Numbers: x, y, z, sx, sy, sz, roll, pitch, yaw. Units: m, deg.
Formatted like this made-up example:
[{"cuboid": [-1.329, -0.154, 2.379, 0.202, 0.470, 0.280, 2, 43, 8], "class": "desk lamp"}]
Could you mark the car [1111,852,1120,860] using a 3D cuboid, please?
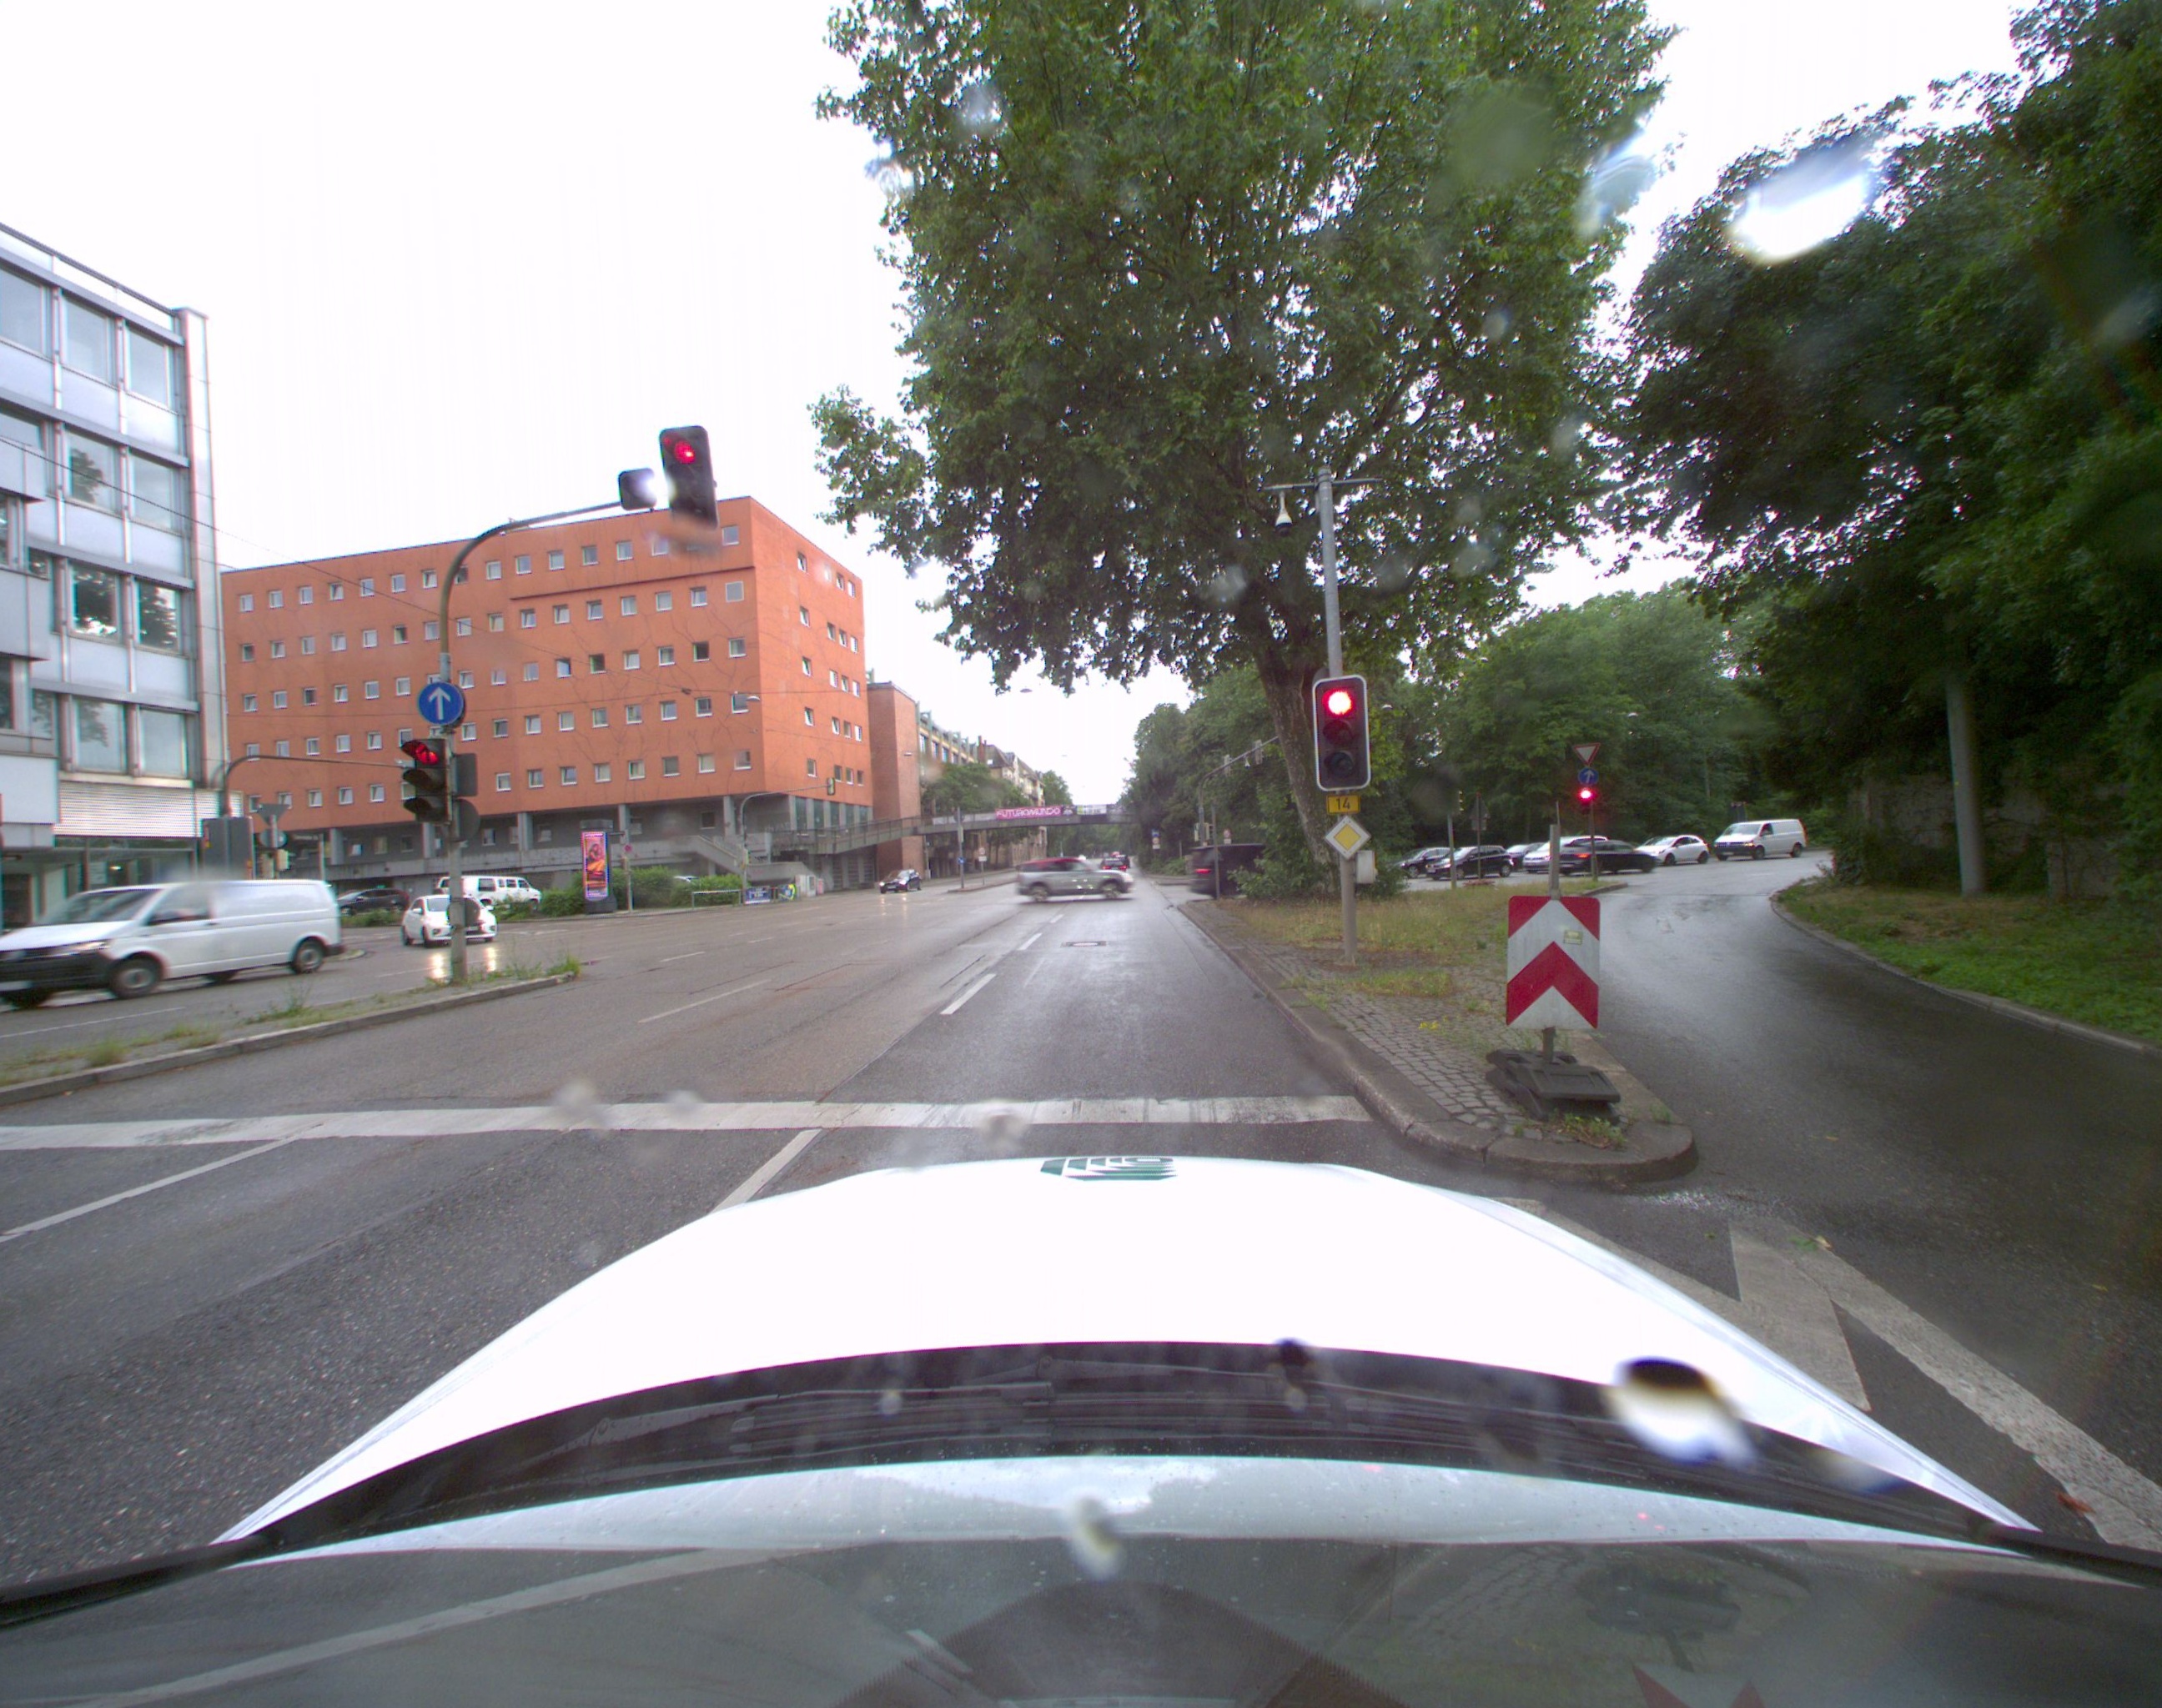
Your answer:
[{"cuboid": [8.529, 0.455, 202.102, 2.114, 1.734, 4.197, -1, 1, -1], "class": "car"}]

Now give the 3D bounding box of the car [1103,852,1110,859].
[{"cuboid": [6.719, 0.294, 217.279, 1.757, 1.697, 3.707, -5, -1, 2], "class": "car"}]

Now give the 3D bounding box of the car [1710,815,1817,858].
[{"cuboid": [34.890, -0.903, 41.629, 4.858, 1.922, 1.897, -3, -1, -18], "class": "car"}]

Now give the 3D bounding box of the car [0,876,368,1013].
[{"cuboid": [-16.525, 1.491, 15.129, 1.989, 1.932, 5.207, -5, -1, -3], "class": "car"}]

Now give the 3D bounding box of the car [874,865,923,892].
[{"cuboid": [-11.403, 1.519, 51.223, 1.986, 1.519, 4.002, -3, -1, 2], "class": "car"}]

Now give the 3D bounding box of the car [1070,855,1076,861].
[{"cuboid": [-2.286, 1.255, 240.113, 1.613, 1.697, 3.550, -5, -1, 2], "class": "car"}]

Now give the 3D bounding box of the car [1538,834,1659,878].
[{"cuboid": [21.385, 0.080, 33.688, 4.133, 1.446, 1.580, -5, -1, -8], "class": "car"}]

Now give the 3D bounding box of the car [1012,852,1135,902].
[{"cuboid": [-0.236, 0.850, 30.936, 4.493, 1.638, 1.882, -2, 0, 2], "class": "car"}]

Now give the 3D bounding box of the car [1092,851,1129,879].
[{"cuboid": [2.121, 0.797, 60.007, 2.126, 1.836, 4.345, -5, -1, -5], "class": "car"}]

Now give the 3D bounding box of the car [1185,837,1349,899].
[{"cuboid": [6.241, 0.464, 27.688, 5.063, 1.846, 1.998, -2, -1, -2], "class": "car"}]

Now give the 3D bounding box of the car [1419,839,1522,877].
[{"cuboid": [17.149, 0.169, 35.917, 3.859, 1.485, 1.665, -2, -1, -13], "class": "car"}]

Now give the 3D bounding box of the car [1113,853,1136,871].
[{"cuboid": [4.870, 0.874, 91.940, 2.124, 1.836, 4.348, -5, -1, -3], "class": "car"}]

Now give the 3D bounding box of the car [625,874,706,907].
[{"cuboid": [-25.575, 2.248, 50.195, 3.988, 1.618, 1.900, -5, -1, 11], "class": "car"}]

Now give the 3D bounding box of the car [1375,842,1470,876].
[{"cuboid": [16.699, 0.256, 39.854, 3.998, 1.486, 1.867, -2, -1, -18], "class": "car"}]

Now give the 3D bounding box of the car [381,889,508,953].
[{"cuboid": [-19.552, 2.060, 24.929, 4.762, 1.637, 2.013, -5, -1, 39], "class": "car"}]

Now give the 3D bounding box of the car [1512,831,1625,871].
[{"cuboid": [22.583, -0.134, 37.782, 4.258, 1.486, 1.769, -5, -1, -9], "class": "car"}]

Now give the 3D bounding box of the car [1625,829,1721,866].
[{"cuboid": [29.009, -0.313, 39.921, 3.999, 1.486, 1.763, -4, -1, -18], "class": "car"}]

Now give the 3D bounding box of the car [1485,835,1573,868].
[{"cuboid": [22.690, -0.110, 41.247, 3.834, 1.486, 1.734, -3, 0, -18], "class": "car"}]

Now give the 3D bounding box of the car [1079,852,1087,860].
[{"cuboid": [0.586, 0.591, 221.143, 1.757, 1.925, 3.707, -5, -1, 2], "class": "car"}]

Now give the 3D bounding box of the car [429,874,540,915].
[{"cuboid": [-32.765, 2.159, 44.948, 1.982, 2.014, 4.864, 1, -1, 9], "class": "car"}]

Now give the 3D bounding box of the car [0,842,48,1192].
[{"cuboid": [-6.107, 0.793, 1.614, 1.938, 1.597, 4.677, -1, 1, 5], "class": "car"}]
